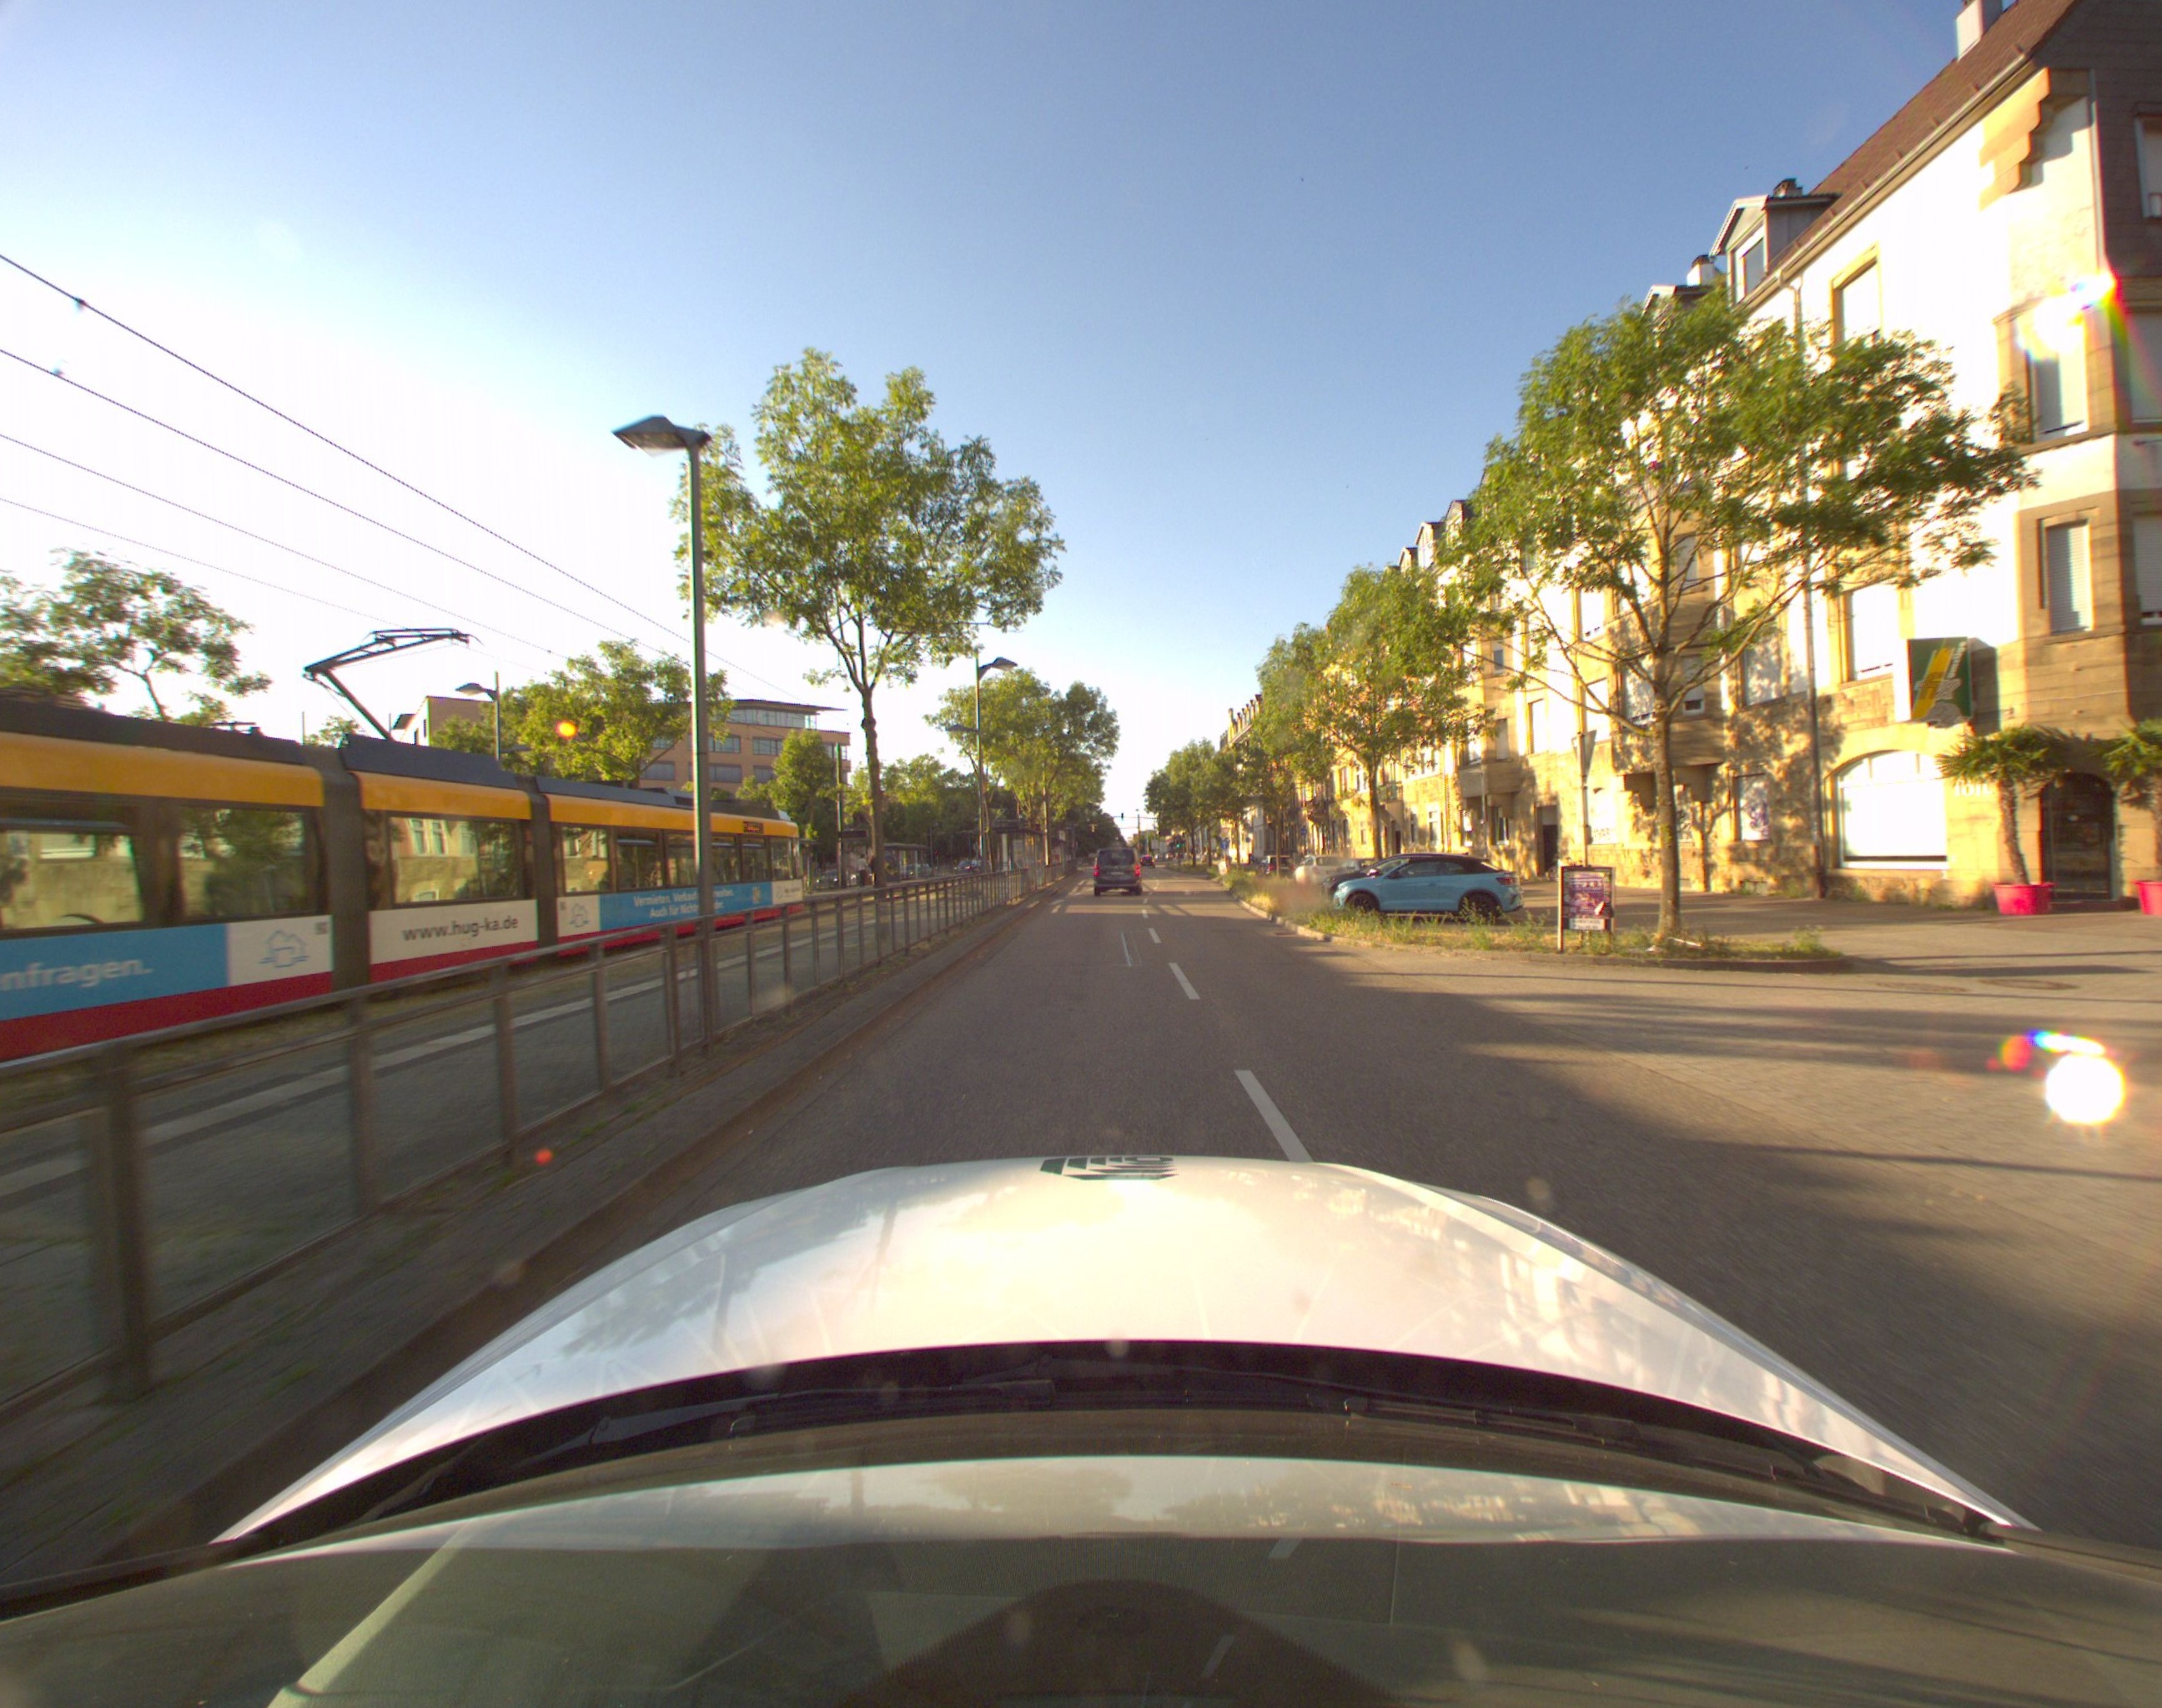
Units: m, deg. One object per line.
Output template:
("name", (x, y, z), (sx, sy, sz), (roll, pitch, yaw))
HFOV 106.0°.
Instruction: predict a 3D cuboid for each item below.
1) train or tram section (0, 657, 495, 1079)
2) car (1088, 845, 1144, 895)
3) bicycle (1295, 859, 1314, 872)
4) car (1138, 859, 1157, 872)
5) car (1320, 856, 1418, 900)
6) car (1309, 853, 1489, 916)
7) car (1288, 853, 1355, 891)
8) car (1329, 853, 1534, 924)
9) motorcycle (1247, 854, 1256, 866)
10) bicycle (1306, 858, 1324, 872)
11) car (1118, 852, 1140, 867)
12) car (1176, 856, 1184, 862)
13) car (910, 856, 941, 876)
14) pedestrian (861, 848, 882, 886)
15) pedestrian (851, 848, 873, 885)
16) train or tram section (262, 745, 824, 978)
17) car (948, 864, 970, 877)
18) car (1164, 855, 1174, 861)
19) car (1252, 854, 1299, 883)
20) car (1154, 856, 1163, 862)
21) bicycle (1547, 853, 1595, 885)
("train or tram section", (-10.574, 0.135, 4.453), (3.418, 3.430, 15.033), (-2, -1, 2))
("car", (1.512, 0.628, 33.497), (1.983, 1.901, 4.306), (0, 0, 6))
("bicycle", (16.758, 0.822, 61.132), (0.868, 0.916, 2.086), (-3, -1, 3))
("car", (7.776, 1.351, 95.861), (1.986, 1.510, 4.001), (-1, 0, 1))
("car", (10.340, 0.800, 29.645), (1.938, 1.445, 4.910), (1, 0, 1))
("car", (8.657, 0.757, 22.242), (4.286, 1.571, 2.014), (0, 0, 31))
("car", (10.309, 0.730, 35.182), (1.719, 1.512, 4.273), (1, 0, 1))
("car", (8.372, 0.783, 19.578), (4.232, 1.522, 1.859), (-1, 0, 34))
("motorcycle", (18.910, 0.666, 90.319), (0.552, 1.214, 2.072), (0, -1, 0))
("bicycle", (16.806, 0.784, 58.573), (0.730, 0.948, 2.343), (-3, -1, 5))
("car", (4.972, 0.587, 84.186), (1.988, 1.510, 3.998), (-1, 0, -1))
("car", (27.102, 1.288, 223.442), (1.985, 1.656, 4.302), (-2, -1, 3))
("car", (-13.738, 1.065, 72.035), (1.852, 1.654, 4.002), (-2, 0, 2))
("pedestrian", (-11.631, 0.716, 45.209), (0.766, 2.014, 1.128), (-2, -1, 4))
("pedestrian", (-12.394, 0.708, 46.114), (0.766, 2.014, 1.128), (-2, -1, 4))
("train or tram section", (-10.110, 0.173, 18.904), (3.418, 3.339, 13.862), (-2, -1, 2))
("car", (-13.702, 1.813, 91.625), (1.788, 1.415, 4.342), (0, -1, 1))
("car", (24.499, 1.196, 226.826), (1.987, 1.656, 4.297), (-2, -1, -1))
("car", (10.616, 0.762, 44.646), (1.697, 1.448, 4.291), (1, 0, 2))
("car", (21.717, 1.383, 227.938), (1.987, 1.656, 4.297), (-2, -1, -1))
("bicycle", (17.479, 0.515, 29.092), (0.570, 1.073, 1.897), (-3, 0, 2))
